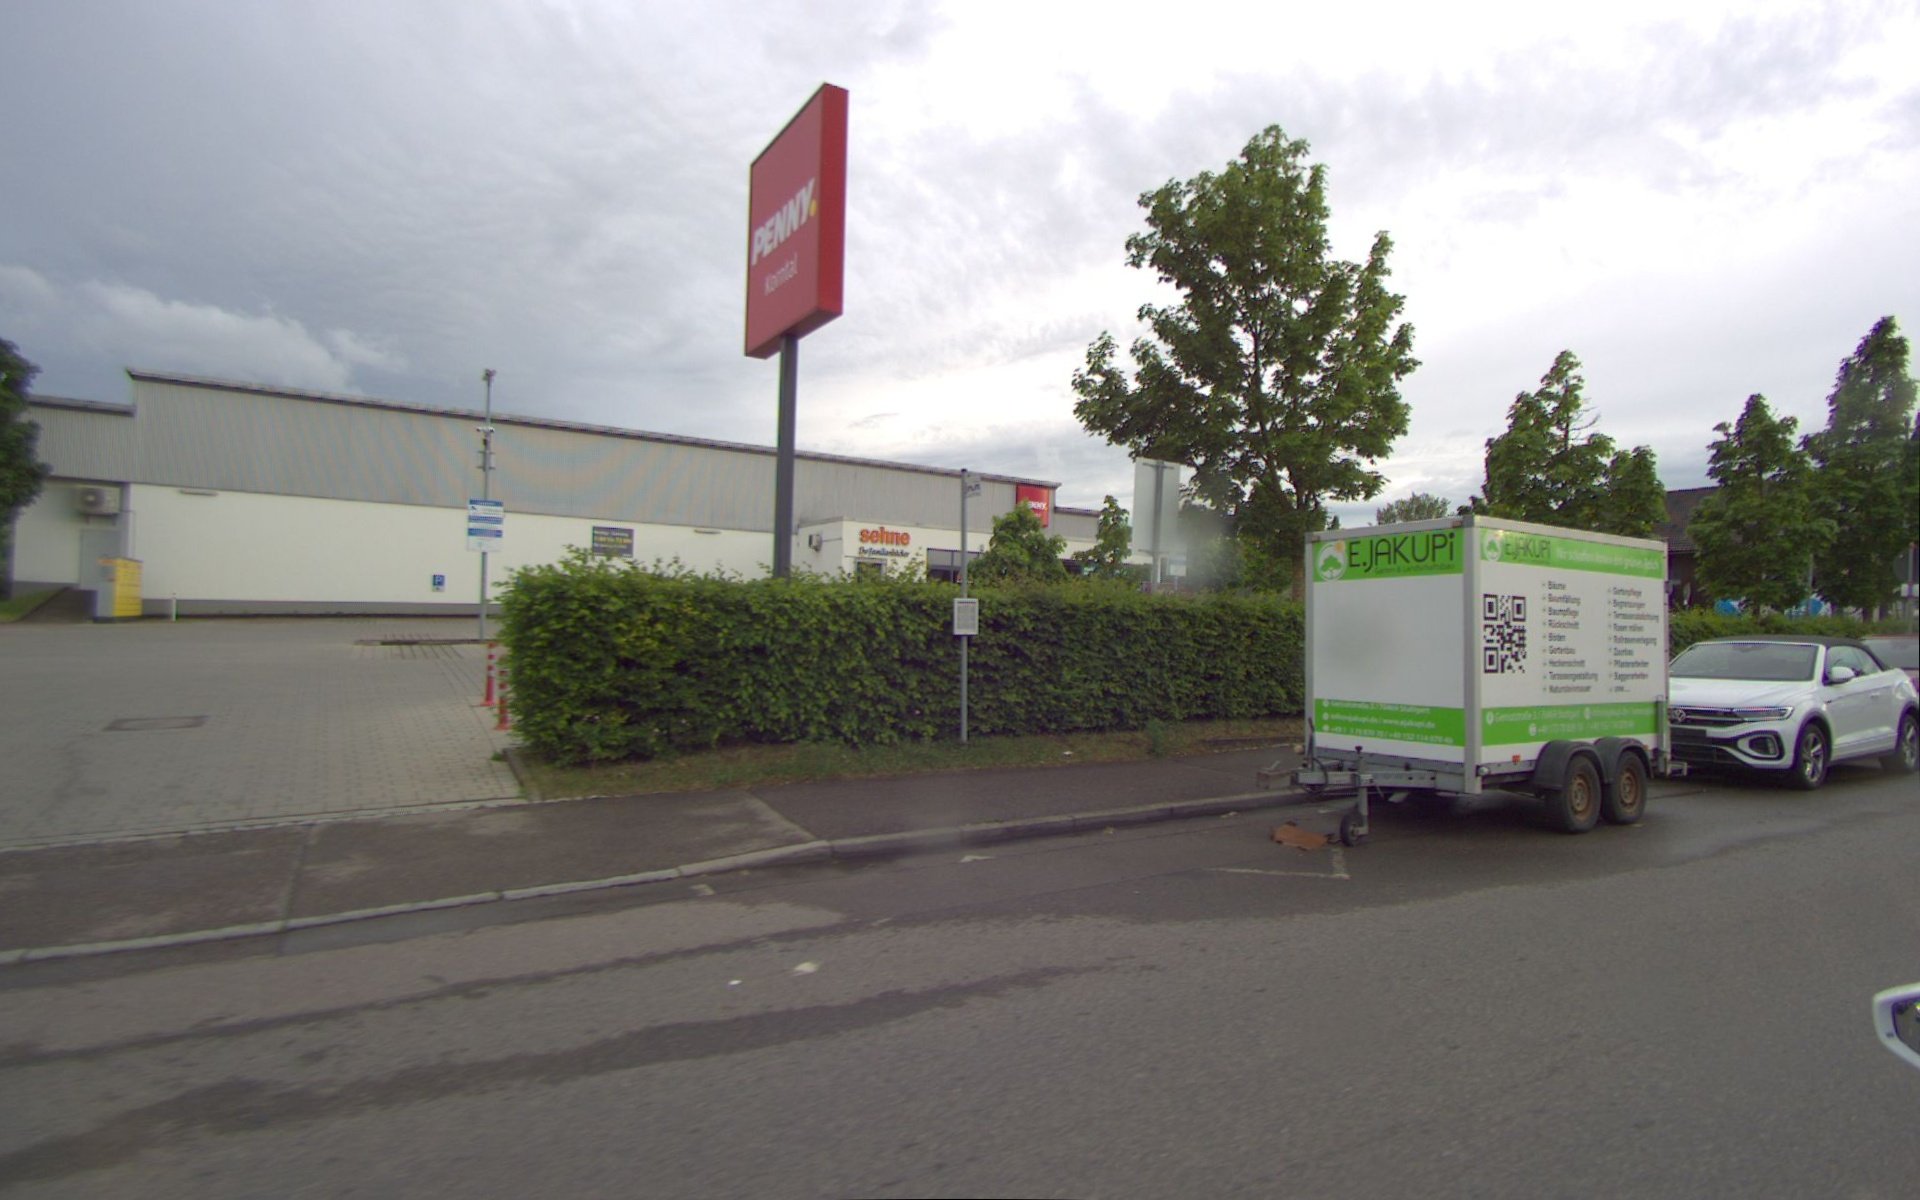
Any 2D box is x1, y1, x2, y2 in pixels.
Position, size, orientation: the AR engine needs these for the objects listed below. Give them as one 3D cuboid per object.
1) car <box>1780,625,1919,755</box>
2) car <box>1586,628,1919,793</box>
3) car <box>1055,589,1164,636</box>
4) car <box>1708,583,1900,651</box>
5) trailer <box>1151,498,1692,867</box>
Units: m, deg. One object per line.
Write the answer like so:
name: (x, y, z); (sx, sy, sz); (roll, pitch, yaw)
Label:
car: (13.430, 1.170, 14.012); (4.293, 1.594, 1.796); (1, -1, -32)
car: (9.048, 1.094, 11.314); (4.090, 1.518, 1.763); (1, 0, -32)
car: (5.606, 0.462, 38.125); (1.756, 1.628, 3.957); (2, 0, -37)
car: (27.192, 0.507, 32.507); (2.038, 2.040, 4.285); (2, 0, -30)
trailer: (3.972, 0.606, 8.396); (4.677, 2.344, 1.804); (1, -3, -32)
